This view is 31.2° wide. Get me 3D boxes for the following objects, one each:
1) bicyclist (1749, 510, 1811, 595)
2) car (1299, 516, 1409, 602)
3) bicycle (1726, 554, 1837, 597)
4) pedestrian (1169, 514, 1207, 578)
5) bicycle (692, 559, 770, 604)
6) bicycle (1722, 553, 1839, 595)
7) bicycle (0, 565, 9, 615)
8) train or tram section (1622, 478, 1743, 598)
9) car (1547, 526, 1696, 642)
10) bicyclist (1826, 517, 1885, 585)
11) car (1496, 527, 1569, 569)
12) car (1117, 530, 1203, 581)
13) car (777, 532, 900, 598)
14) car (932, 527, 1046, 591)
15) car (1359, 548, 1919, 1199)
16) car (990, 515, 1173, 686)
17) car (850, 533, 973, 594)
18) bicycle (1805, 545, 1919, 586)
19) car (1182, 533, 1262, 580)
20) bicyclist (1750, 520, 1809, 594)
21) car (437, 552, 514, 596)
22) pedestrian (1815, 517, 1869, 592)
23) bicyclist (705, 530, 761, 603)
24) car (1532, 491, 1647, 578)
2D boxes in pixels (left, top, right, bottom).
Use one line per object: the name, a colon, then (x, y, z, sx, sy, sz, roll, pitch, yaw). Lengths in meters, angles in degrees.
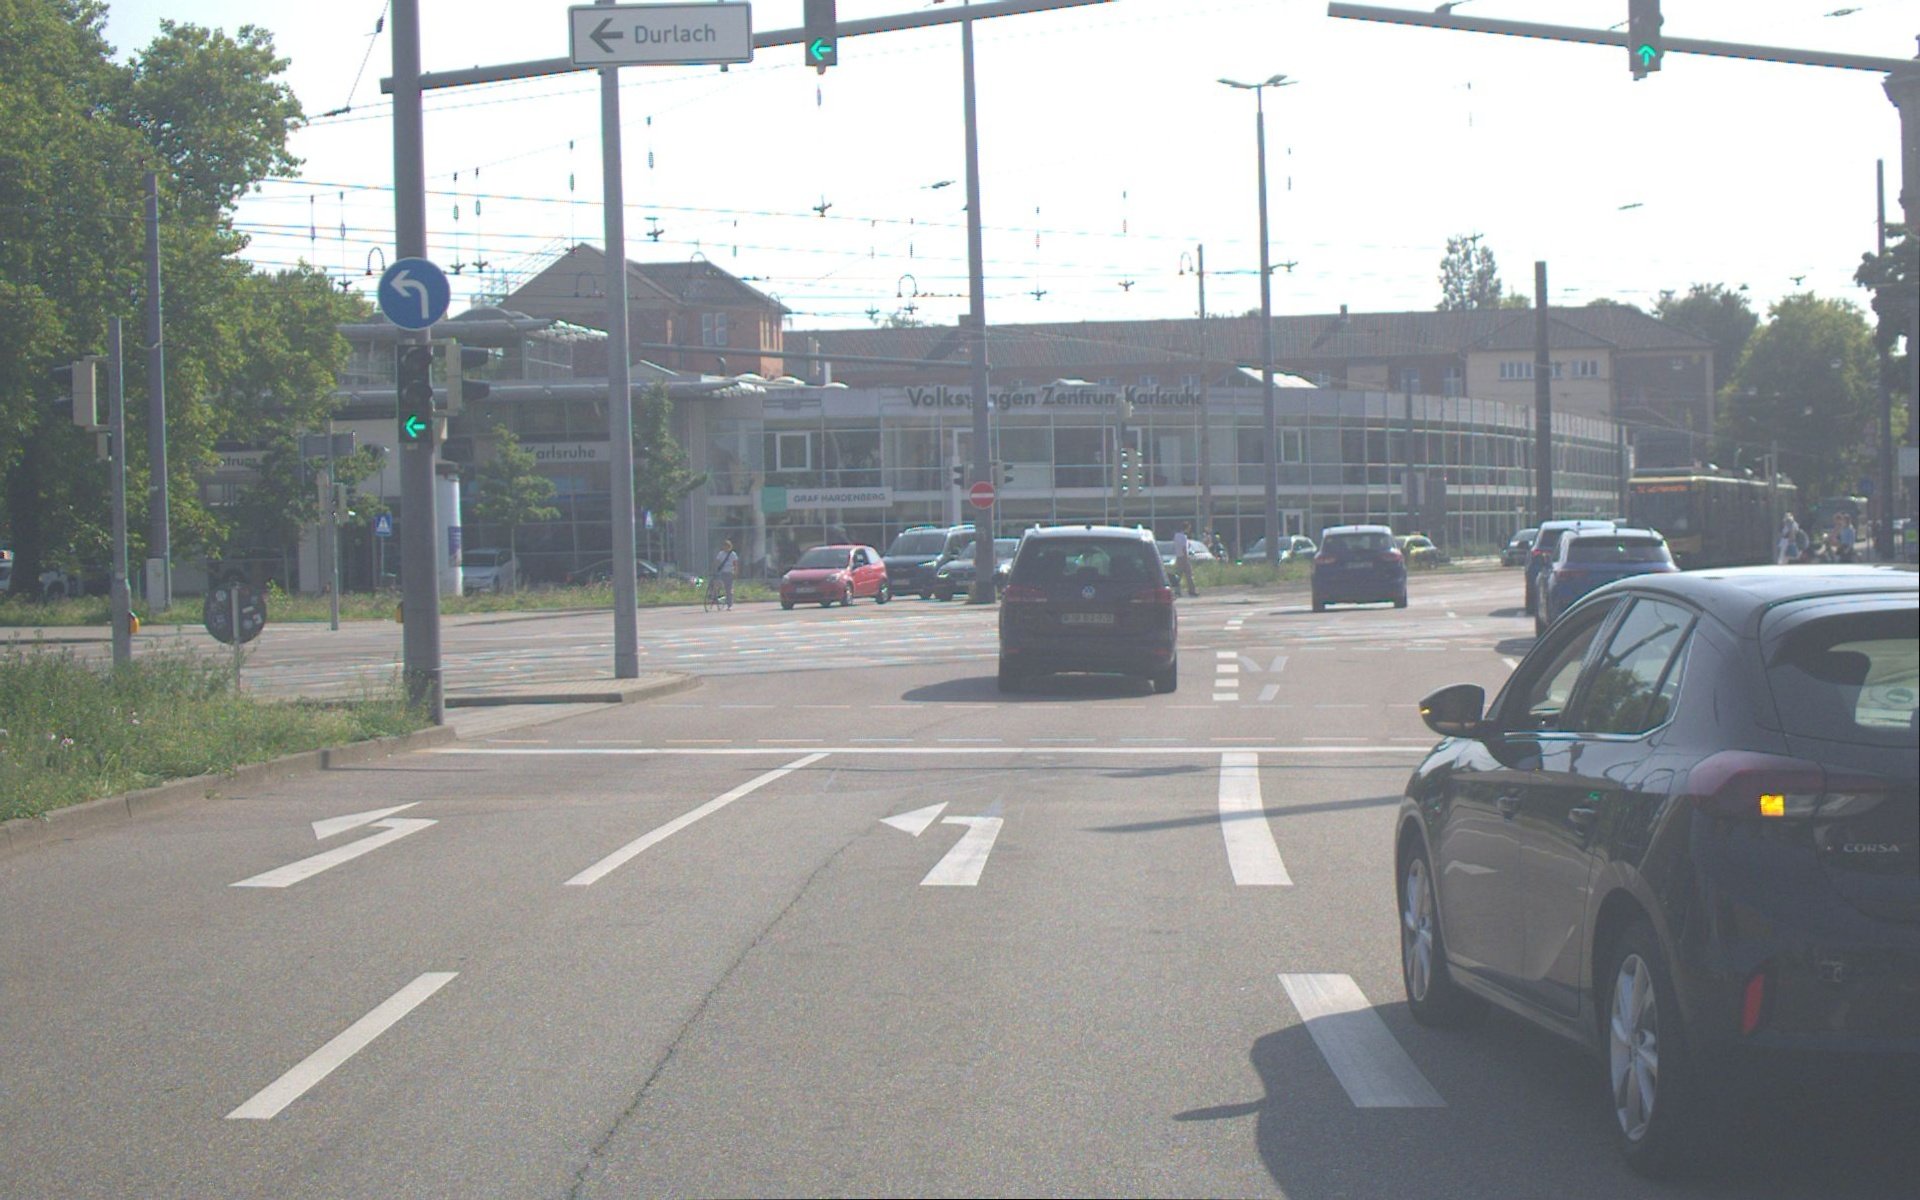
bicyclist: (19.618, -1.139, 82.259, 0.934, 2.017, 1.093, -2, 1, -34)
car: (7.542, -0.806, 65.445, 1.826, 1.530, 4.411, -1, 1, 10)
bicycle: (19.666, -0.598, 82.289, 2.618, 0.961, 1.093, -2, 1, -34)
pedestrian: (5.424, -1.293, 81.866, 0.778, 1.498, 0.710, -1, 1, 13)
bicycle: (-5.536, -0.463, 83.307, 0.958, 1.053, 2.606, 0, 1, 19)
bicycle: (20.172, -0.646, 84.538, 2.617, 0.961, 1.093, -1, 1, -21)
bicycle: (-21.536, -0.179, 72.789, 2.599, 1.053, 0.961, -1, 1, -12)
train or tram section: (23.584, -2.066, 111.844, 2.657, 3.686, 10.580, -1, 1, 18)
car: (8.752, -0.246, 45.627, 1.826, 1.423, 4.410, -1, 1, 10)
bicyclist: (22.372, -1.225, 85.885, 0.934, 1.674, 1.093, -1, 1, -21)
car: (21.613, -1.970, 129.642, 1.616, 1.470, 3.995, -3, 0, 26)
car: (6.250, -1.395, 107.090, 1.616, 1.470, 3.996, -3, 0, 19)
car: (-2.884, -0.855, 82.659, 1.615, 1.470, 3.997, -3, 0, 18)
car: (0.735, -1.032, 84.680, 1.615, 1.470, 3.997, -3, 0, 18)
car: (2.314, 0.608, 9.504, 1.682, 1.486, 4.373, 0, 1, -3)
car: (1.252, -0.041, 36.705, 1.825, 1.708, 4.412, 0, 1, 1)
car: (-1.239, -0.974, 89.814, 1.962, 1.470, 3.997, -3, 0, 18)
bicycle: (22.558, -0.864, 85.966, 2.617, 0.961, 1.093, -1, 1, -21)
car: (8.750, -1.468, 114.646, 1.616, 1.470, 3.996, -3, 0, 19)
bicyclist: (20.151, -1.066, 84.523, 0.934, 1.793, 1.093, -1, 1, -21)
car: (-17.255, -0.942, 122.543, 1.700, 1.517, 4.098, -1, 1, 7)
pedestrian: (21.395, -1.102, 83.404, 0.925, 1.791, 0.859, -2, 1, -38)
bicyclist: (-5.512, -0.812, 83.379, 0.958, 1.742, 1.165, 0, 1, 19)
car: (10.992, -1.157, 60.222, 1.826, 1.423, 4.411, -1, 1, 9)
